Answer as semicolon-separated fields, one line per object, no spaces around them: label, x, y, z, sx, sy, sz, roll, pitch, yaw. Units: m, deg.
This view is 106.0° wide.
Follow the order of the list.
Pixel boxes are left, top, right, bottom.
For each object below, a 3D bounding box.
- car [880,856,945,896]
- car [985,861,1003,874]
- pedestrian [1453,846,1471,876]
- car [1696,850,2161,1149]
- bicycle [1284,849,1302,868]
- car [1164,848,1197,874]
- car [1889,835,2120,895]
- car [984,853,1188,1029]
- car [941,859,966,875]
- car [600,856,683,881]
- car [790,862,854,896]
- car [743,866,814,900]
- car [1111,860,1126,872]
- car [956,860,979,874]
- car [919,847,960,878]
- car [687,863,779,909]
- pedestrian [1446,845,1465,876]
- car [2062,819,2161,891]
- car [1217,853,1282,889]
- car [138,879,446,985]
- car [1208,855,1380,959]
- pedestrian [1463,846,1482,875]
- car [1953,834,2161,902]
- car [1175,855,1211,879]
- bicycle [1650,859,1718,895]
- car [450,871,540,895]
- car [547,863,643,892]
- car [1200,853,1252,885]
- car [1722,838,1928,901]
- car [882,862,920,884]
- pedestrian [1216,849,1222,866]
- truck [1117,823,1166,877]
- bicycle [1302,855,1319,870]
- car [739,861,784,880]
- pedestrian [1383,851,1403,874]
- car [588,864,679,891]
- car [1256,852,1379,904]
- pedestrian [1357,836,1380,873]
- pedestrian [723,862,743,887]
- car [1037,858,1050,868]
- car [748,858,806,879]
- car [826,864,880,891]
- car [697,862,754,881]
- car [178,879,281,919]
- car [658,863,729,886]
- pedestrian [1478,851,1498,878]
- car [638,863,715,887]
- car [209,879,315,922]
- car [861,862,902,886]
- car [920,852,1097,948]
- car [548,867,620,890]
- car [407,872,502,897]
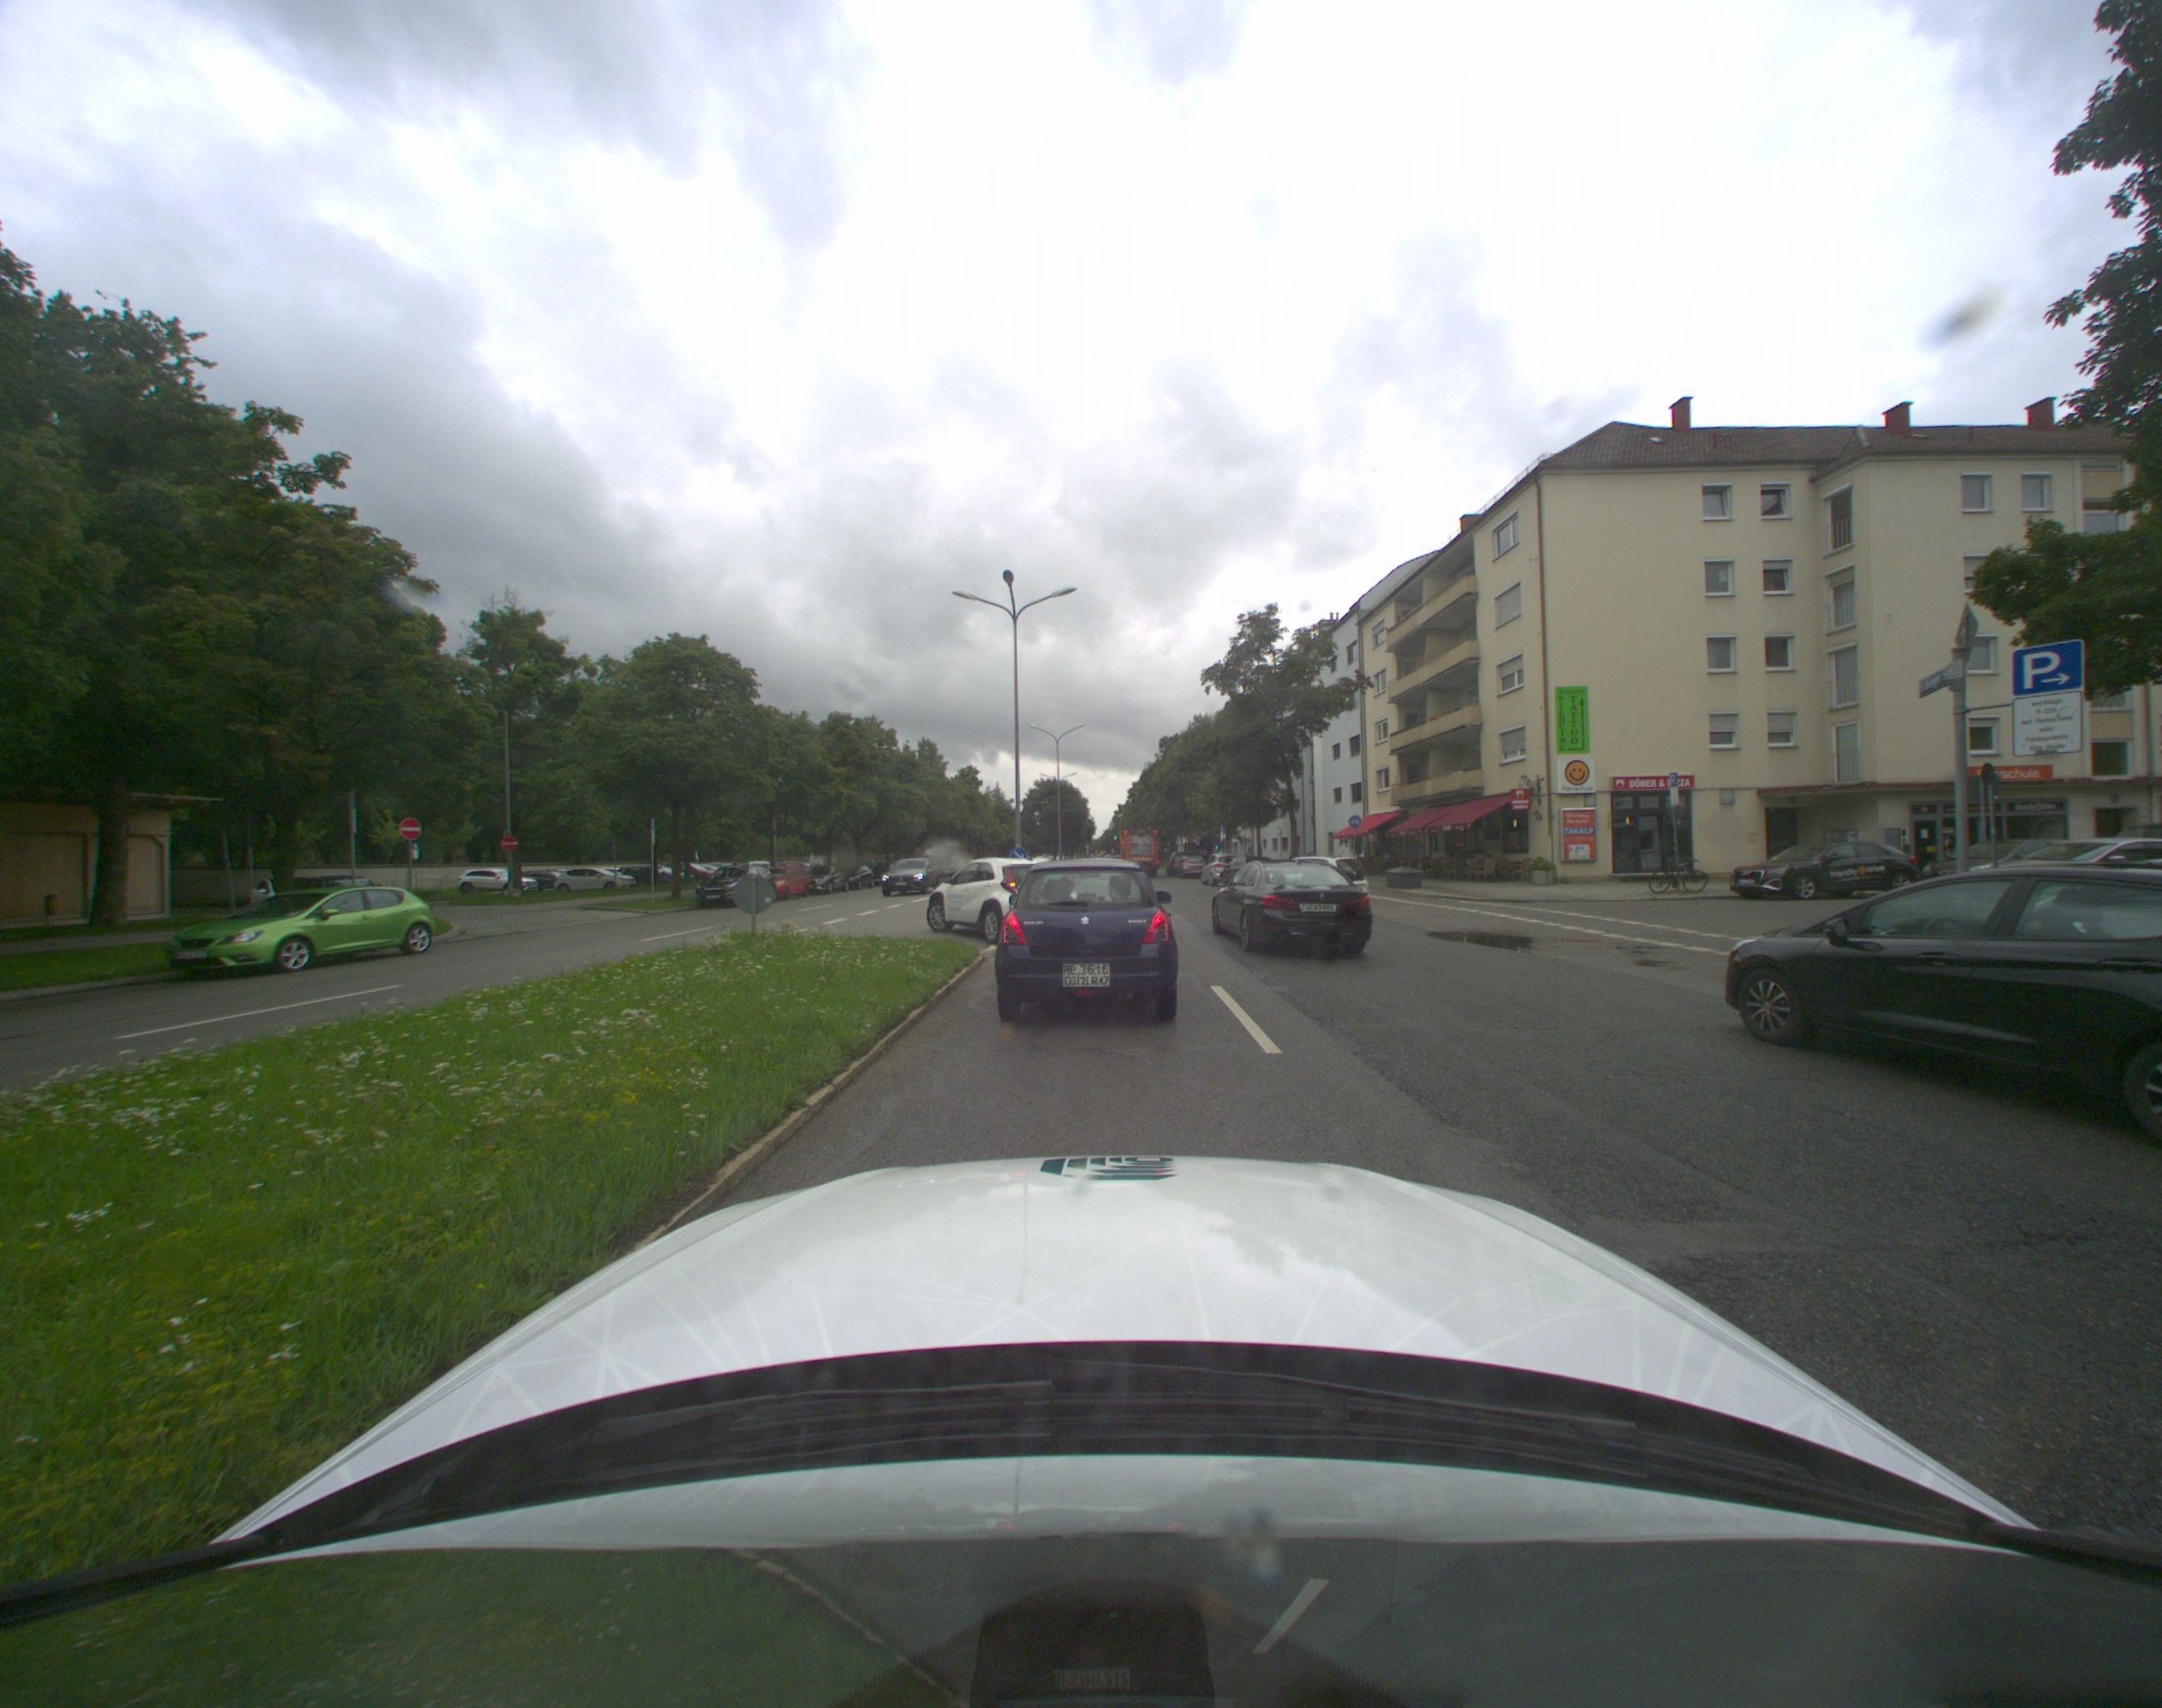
car;-7.473;0.945;36.580;1.815;1.589;4.503;-1;0;1
car;-11.586;1.761;108.778;1.881;1.537;4.313;-4;0;-1
pedestrian;16.389;0.300;35.068;0.536;1.268;0.487;-1;0;0
car;6.254;0.723;5.260;1.638;1.477;3.957;-1;0;1
bicycle;16.316;0.362;62.705;0.700;1.407;2.593;-3;0;1
car;7.129;0.506;58.689;1.823;1.746;4.507;-1;0;0
car;24.644;0.279;21.857;3.975;1.442;1.999;-1;0;-1
car;0.110;0.758;9.084;1.746;1.505;4.002;-1;0;2
car;-12.754;1.335;81.599;1.851;1.491;4.251;-1;-1;0
car;-27.043;0.869;50.202;3.980;1.442;1.997;-1;0;-5
car;-13.473;1.253;42.607;1.814;1.599;4.115;-1;0;3
car;-13.934;1.317;37.717;1.816;1.479;3.809;-1;-1;0
car;5.035;1.585;108.884;1.823;1.522;3.770;-1;0;0
car;-12.432;1.403;89.233;1.851;1.491;4.141;-1;-1;0
car;-12.826;0.714;74.288;2.132;2.643;7.107;-3;0;1
car;-13.771;1.237;32.507;1.816;1.700;4.238;-1;-1;0
pedestrian;16.555;0.272;35.998;0.536;1.339;0.552;-1;0;0
car;30.502;-0.014;22.276;4.968;1.885;1.999;-1;0;-1
car;7.302;0.700;35.667;1.825;1.473;3.883;-1;0;-4
car;-14.226;1.311;15.075;1.634;1.499;4.002;-3;0;2
car;3.436;0.761;14.064;1.815;1.477;4.691;1;0;1
pedestrian;16.381;0.273;34.081;0.536;1.214;0.487;-1;0;1
car;23.227;0.291;18.731;4.194;1.442;2.000;-1;0;0
car;7.321;0.829;53.467;1.823;1.522;3.770;-1;0;0
bicycle;17.575;0.667;23.769;1.532;1.011;0.554;-1;0;4
car;-38.436;1.895;53.468;4.486;1.442;2.002;-1;0;3
car;-26.630;1.289;44.712;3.980;1.442;1.997;-1;0;-5
car;7.227;0.716;40.969;1.823;1.522;4.523;-1;0;0
car;19.704;0.401;21.685;3.913;1.519;1.730;-1;0;-1
car;-13.154;1.385;59.737;1.816;1.527;4.298;-3;-1;0
pedestrian;14.269;0.372;84.215;0.498;1.733;0.733;-3;0;1
truck;4.338;-0.254;61.219;3.030;3.557;13.680;-1;0;2
bicycle;16.373;0.623;58.140;0.619;1.046;2.196;-1;0;1
car;-37.841;1.953;96.468;4.490;2.034;2.000;-1;0;0
pedestrian;16.120;0.422;42.107;0.741;1.163;0.647;-1;0;1
car;-26.167;1.379;47.715;4.123;1.442;1.999;-1;0;-2
car;7.376;0.713;25.654;1.699;1.490;3.398;-1;0;-34
pedestrian;15.314;0.020;43.386;0.870;1.929;0.757;-1;0;-15
pedestrian;-20.979;1.244;49.137;0.792;1.495;0.856;-2;0;1
car;-6.028;1.422;132.345;1.809;1.448;4.782;-2;0;0
car;-24.814;1.149;66.511;3.971;1.570;1.816;-1;0;2
car;-13.397;1.362;48.086;1.814;1.409;4.004;-3;0;3
car;-30.249;1.477;69.397;3.980;1.442;1.997;-1;0;-5
car;-33.319;1.701;31.841;4.411;1.409;1.871;-1;0;31
car;-27.178;1.431;57.184;3.980;1.442;1.997;-1;0;-5
pedestrian;16.240;0.427;32.520;0.536;1.054;0.487;-1;0;1
car;-26.390;1.370;53.193;3.980;1.442;1.997;-1;0;-5
car;-29.913;1.662;29.717;3.809;1.409;1.871;-1;0;31
car;-13.150;1.309;53.931;1.817;1.447;3.995;-3;0;-3
car;-1.495;0.783;15.550;1.834;1.553;3.682;-1;0;-33
car;-39.459;1.938;64.740;4.490;1.625;2.000;-1;0;0
car;-39.353;1.894;51.192;4.484;1.442;2.003;-1;0;5
